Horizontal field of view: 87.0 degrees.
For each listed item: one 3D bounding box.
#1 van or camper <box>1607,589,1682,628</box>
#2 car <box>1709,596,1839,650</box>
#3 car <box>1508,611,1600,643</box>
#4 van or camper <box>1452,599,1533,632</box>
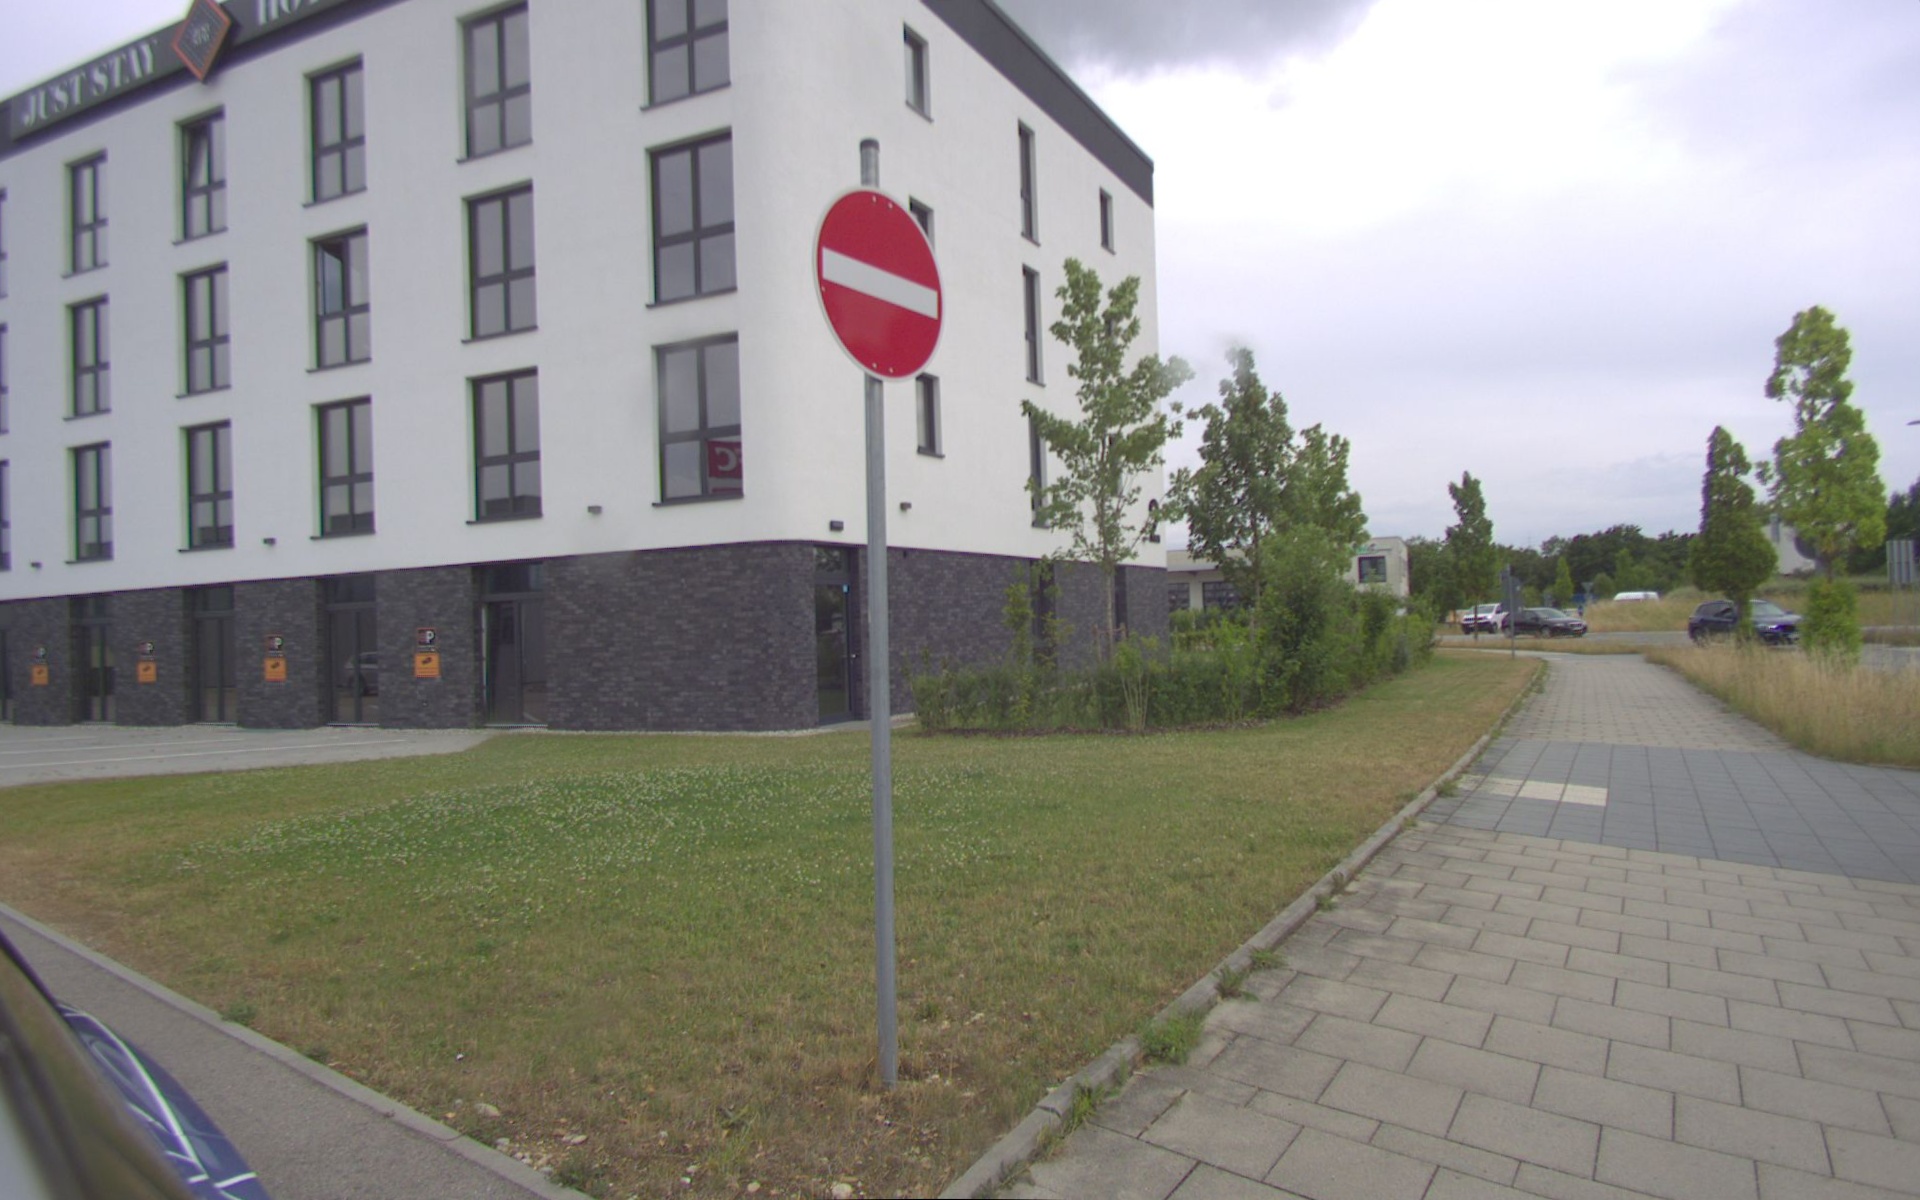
[{"bbox_3d":[48.960,0.631,72.372,5.372,2.601,2.006,-2,-1,-26],"label":"van or camper"},{"bbox_3d":[27.061,0.766,33.814,1.877,1.652,3.980,-2,-2,15],"label":"car"},{"bbox_3d":[27.344,1.277,46.690,1.534,1.364,3.303,-1,-2,-29],"label":"car"},{"bbox_3d":[33.574,0.951,63.802,4.758,1.905,1.990,-1,-2,-25],"label":"van or camper"}]
